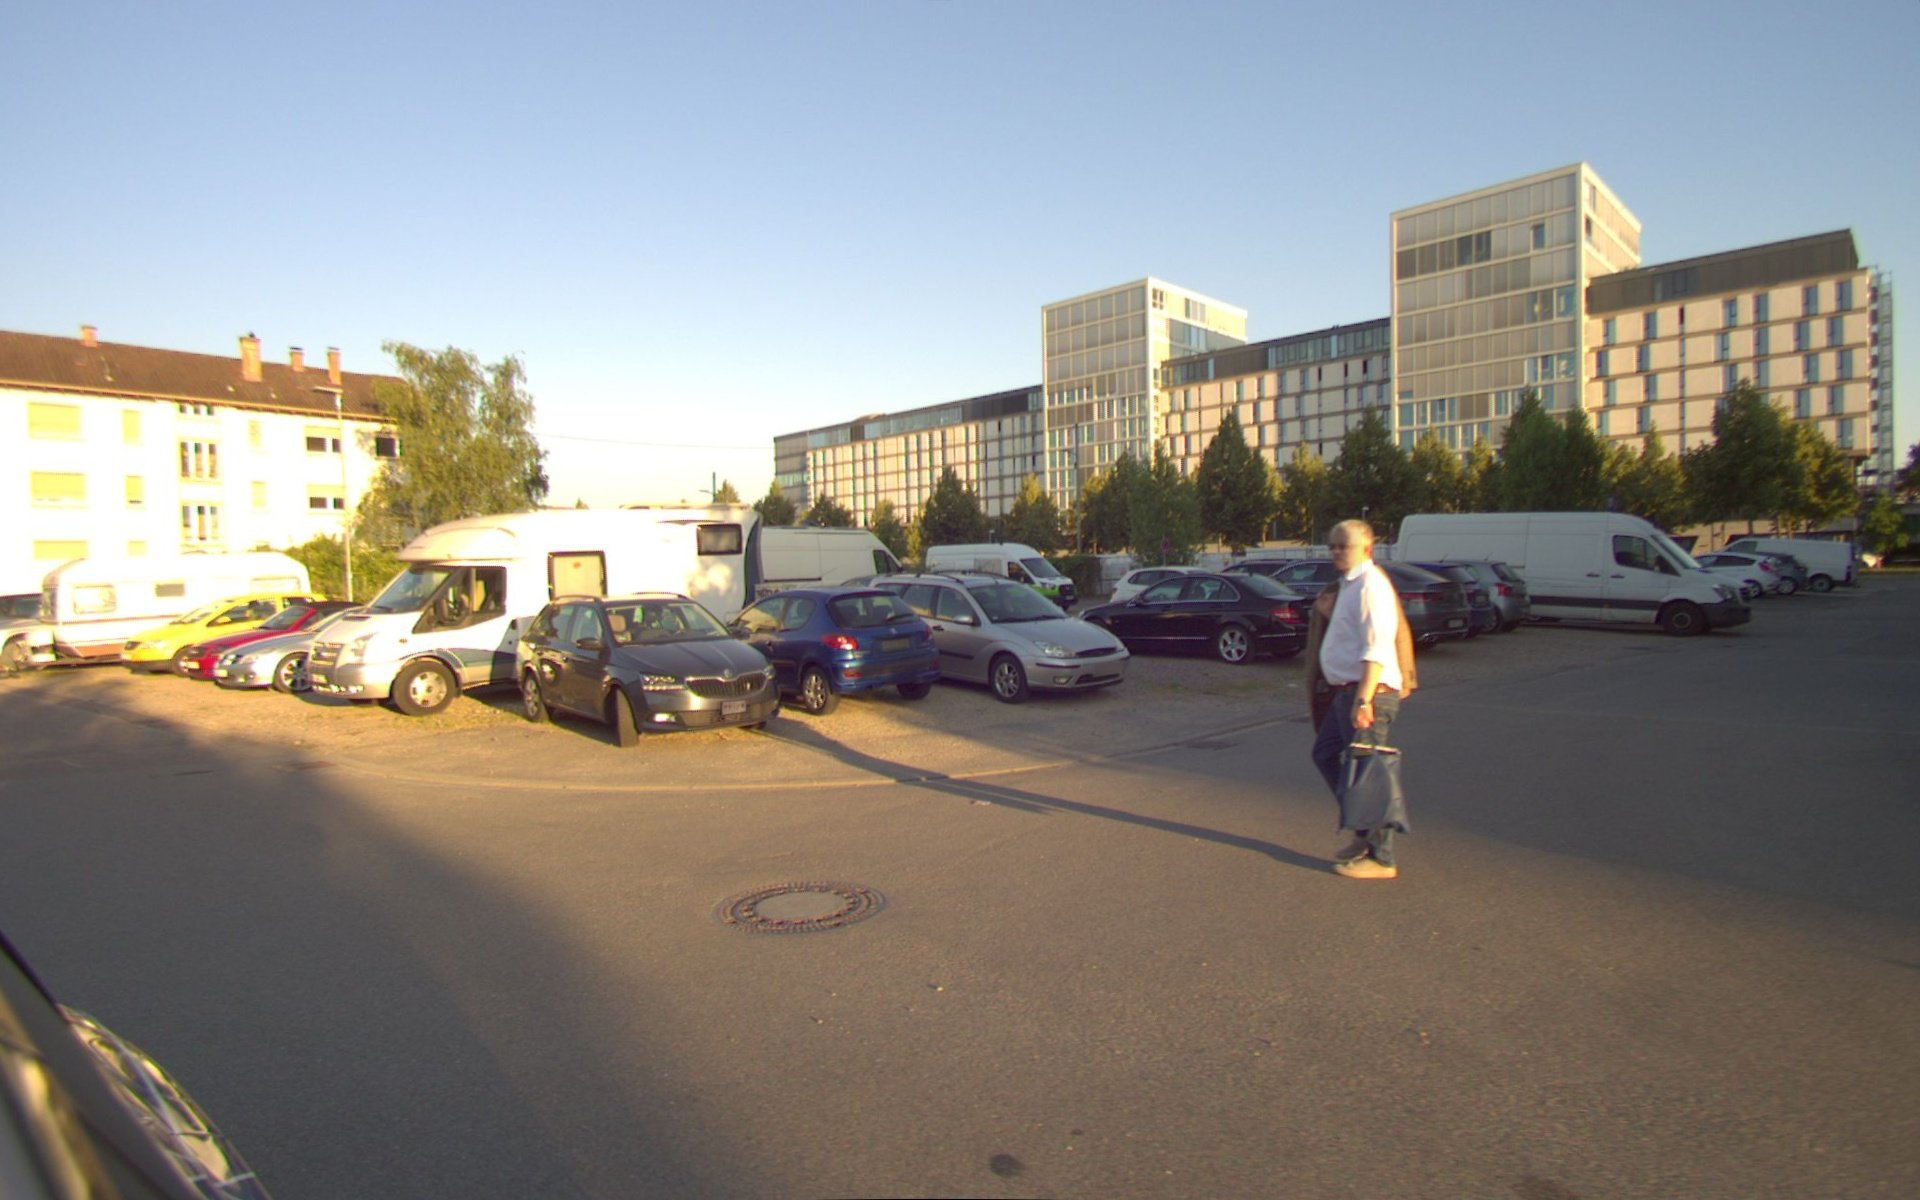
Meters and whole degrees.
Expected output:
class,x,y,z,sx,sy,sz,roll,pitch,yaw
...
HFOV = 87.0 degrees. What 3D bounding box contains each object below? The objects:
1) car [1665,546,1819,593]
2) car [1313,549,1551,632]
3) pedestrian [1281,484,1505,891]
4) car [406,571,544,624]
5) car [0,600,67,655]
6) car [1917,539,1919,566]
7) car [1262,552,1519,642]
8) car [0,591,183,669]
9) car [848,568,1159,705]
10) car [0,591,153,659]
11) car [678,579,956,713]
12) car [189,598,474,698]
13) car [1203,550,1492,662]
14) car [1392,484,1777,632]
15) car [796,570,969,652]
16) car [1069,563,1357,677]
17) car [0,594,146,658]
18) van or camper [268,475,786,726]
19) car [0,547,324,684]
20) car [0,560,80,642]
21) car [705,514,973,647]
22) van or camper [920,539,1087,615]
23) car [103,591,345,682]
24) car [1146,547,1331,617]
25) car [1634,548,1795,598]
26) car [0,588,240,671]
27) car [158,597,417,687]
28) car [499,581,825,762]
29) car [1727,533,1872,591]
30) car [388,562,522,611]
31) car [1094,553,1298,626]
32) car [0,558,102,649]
class,x,y,z,sx,sy,sz,roll,pitch,yaw
car,27.863,-1.143,36.129,1.644,1.510,4.132,-4,6,-44
car,10.022,-0.291,21.744,1.644,1.510,4.304,-4,6,-44
pedestrian,2.150,0.408,5.165,0.847,1.864,0.898,-1,0,13
car,-15.451,-0.106,32.368,1.663,1.487,3.570,-1,2,38
car,-28.483,0.829,29.075,1.784,1.518,3.895,0,2,32
car,55.456,-2.571,55.611,1.642,1.510,3.967,-4,5,-41
car,8.480,-0.158,20.237,1.644,1.510,4.409,-4,6,-44
car,-21.979,0.690,24.942,1.743,1.602,4.094,0,3,33
car,0.443,0.353,13.564,1.643,1.490,4.208,-4,4,-43
car,-24.142,0.642,26.909,1.747,1.602,3.886,-1,2,40
car,-1.925,0.491,12.866,1.643,1.433,3.725,-2,1,-43
car,-10.667,0.735,17.409,1.689,1.338,3.775,-1,2,35
car,6.600,-0.010,17.630,1.644,1.633,4.409,-4,6,-44
car,13.617,-0.924,22.645,2.181,2.822,6.991,-3,3,-43
car,-1.535,0.178,20.854,1.514,1.458,3.402,-1,2,42
car,4.044,0.211,16.762,1.644,1.490,4.409,-4,6,-44
car,-25.760,0.698,28.610,1.742,1.602,3.896,1,2,32
van or camper,-6.015,-0.113,15.112,2.407,2.919,6.672,-1,2,40
car,-17.846,0.182,22.393,2.408,2.552,5.834,1,4,38
car,-33.699,0.113,33.638,2.101,2.733,6.356,0,3,25
car,-2.600,-0.536,23.476,2.223,2.693,6.176,-1,2,42
van or camper,1.578,-0.866,39.357,6.637,2.710,1.994,0,3,42
car,-14.889,0.671,20.640,1.701,1.530,3.600,-1,2,33
car,7.180,-0.462,26.414,1.644,1.633,4.409,-4,3,-44
car,25.574,-0.978,34.397,1.644,1.510,4.132,-4,6,-44
car,-19.949,0.627,24.178,1.744,1.602,4.092,0,3,35
car,-12.644,0.718,19.231,1.701,1.377,3.696,-1,2,33
car,-3.415,0.601,11.030,1.666,1.530,4.367,-4,3,-42
car,32.692,-1.547,39.495,1.644,2.040,4.132,-4,7,-44
car,-16.749,-0.478,33.682,1.663,1.487,3.570,-1,2,38
car,5.424,-0.221,23.637,1.644,1.510,4.409,-4,2,-44
car,-30.387,0.173,31.010,2.042,2.733,5.787,-1,3,30
